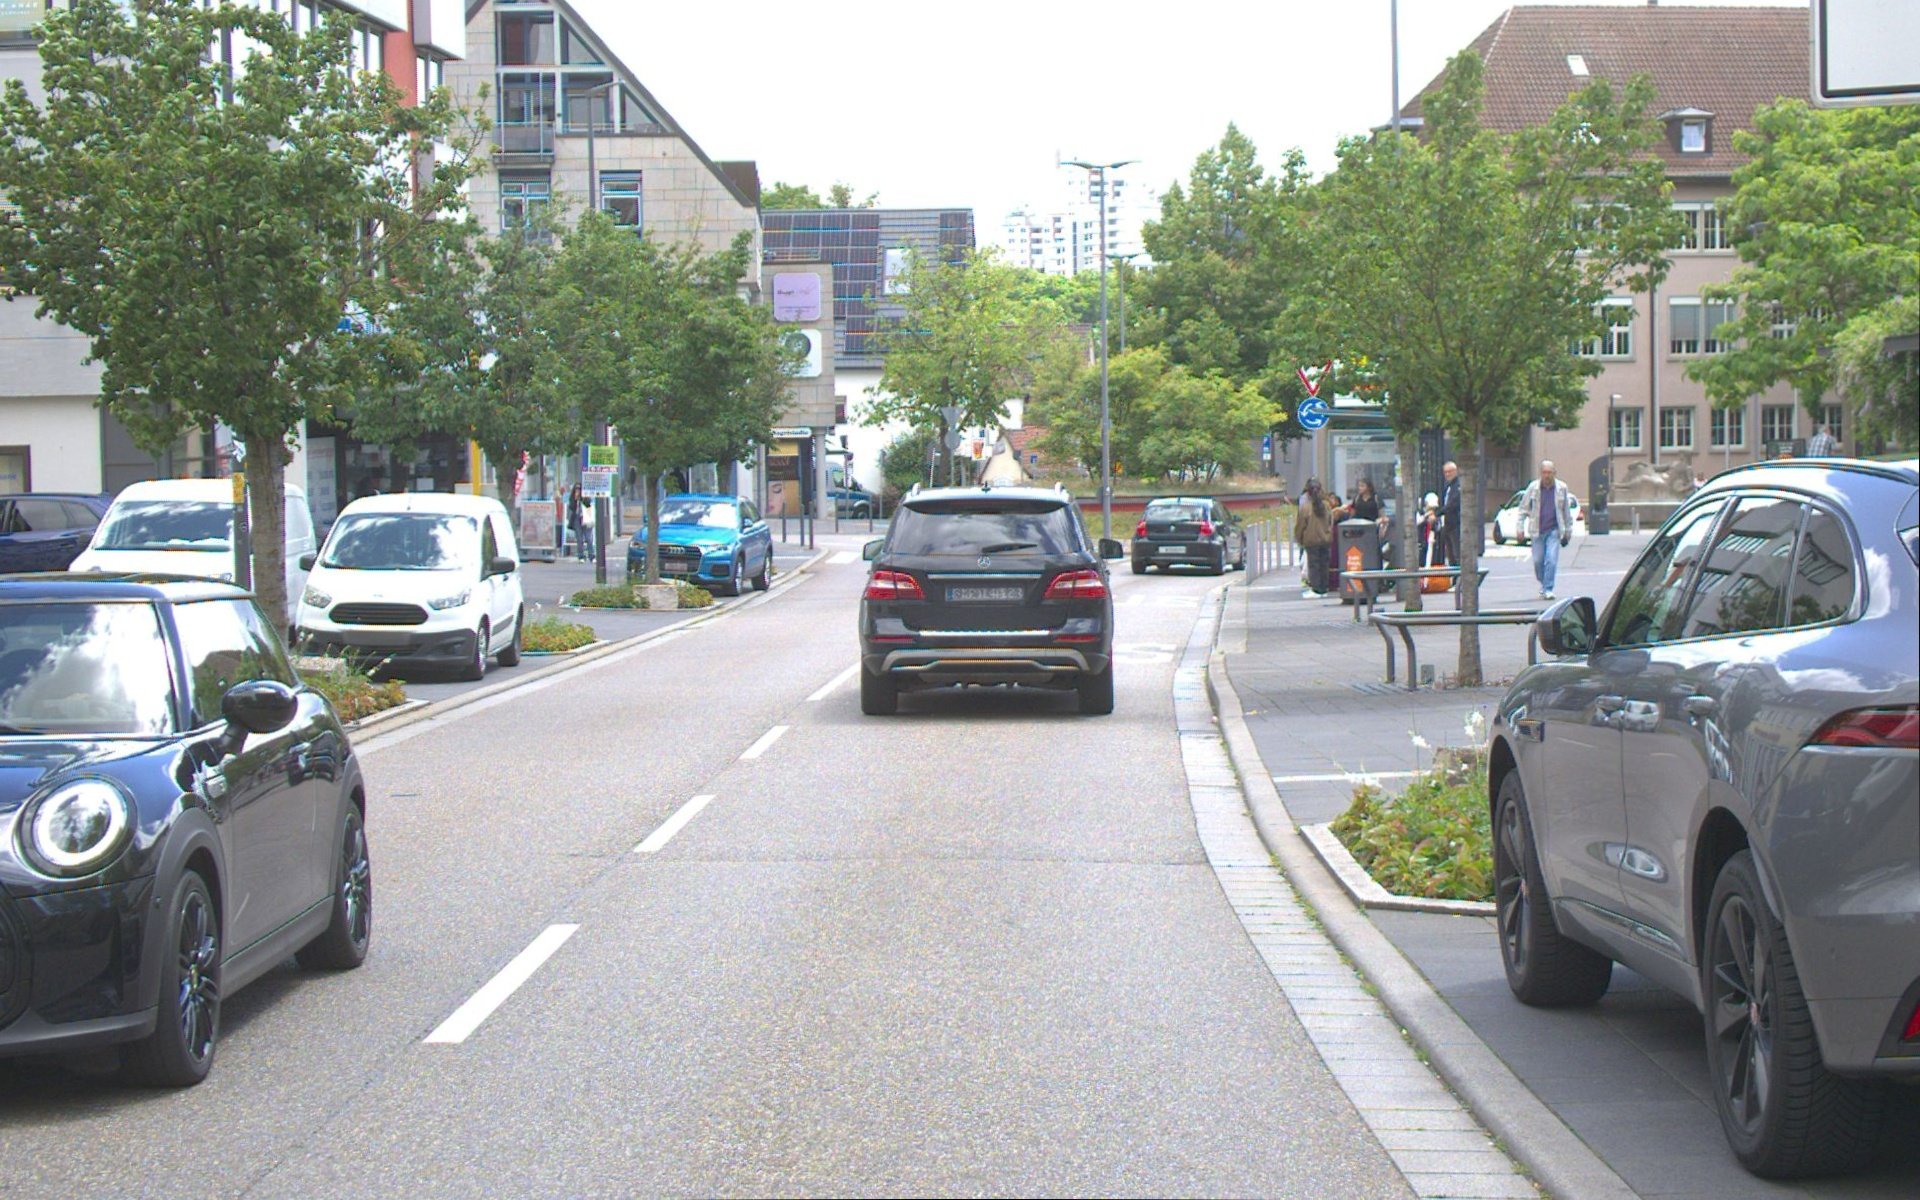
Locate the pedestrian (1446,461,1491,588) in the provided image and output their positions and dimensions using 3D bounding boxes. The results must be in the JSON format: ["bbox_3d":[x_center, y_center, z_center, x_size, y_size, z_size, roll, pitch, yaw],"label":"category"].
[{"bbox_3d":[6.775,-1.008,45.816,0.511,1.674,0.576,-1,2,4],"label":"pedestrian"}]

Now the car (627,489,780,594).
[{"bbox_3d":[-4.166,-0.992,56.376,1.695,1.594,4.331,2,2,6],"label":"car"}]

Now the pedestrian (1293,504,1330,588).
[{"bbox_3d":[5.186,-0.804,50.747,0.403,1.222,0.387,-1,2,26],"label":"pedestrian"}]

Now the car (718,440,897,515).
[{"bbox_3d":[-5.684,-4.521,127.891,6.283,2.551,2.207,1,-1,-17],"label":"car"}]

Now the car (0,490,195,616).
[{"bbox_3d":[-11.558,-0.605,43.057,3.627,1.553,1.669,0,2,-3],"label":"car"}]

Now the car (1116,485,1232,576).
[{"bbox_3d":[4.008,-1.346,64.972,2.052,1.582,4.373,2,2,3],"label":"car"}]

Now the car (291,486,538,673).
[{"bbox_3d":[-5.172,-0.254,33.068,1.656,1.666,4.351,1,2,0],"label":"car"}]

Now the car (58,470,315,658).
[{"bbox_3d":[-7.984,-0.422,35.859,1.756,1.807,4.477,1,2,-1],"label":"car"}]

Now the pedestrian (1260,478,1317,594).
[{"bbox_3d":[4.431,-0.862,46.387,0.485,1.544,0.544,-3,2,-42],"label":"pedestrian"}]

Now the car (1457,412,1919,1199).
[{"bbox_3d":[2.649,0.420,9.103,1.928,1.718,4.574,-1,1,-1],"label":"car"}]

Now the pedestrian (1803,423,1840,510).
[{"bbox_3d":[15.159,-2.349,60.474,0.502,1.503,0.454,-1,3,-3],"label":"pedestrian"}]

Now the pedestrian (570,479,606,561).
[{"bbox_3d":[-7.202,-1.548,66.561,0.587,1.582,0.638,1,2,5],"label":"pedestrian"}]

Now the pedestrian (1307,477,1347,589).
[{"bbox_3d":[5.185,-0.949,48.618,0.500,1.560,0.498,-1,2,4],"label":"pedestrian"}]

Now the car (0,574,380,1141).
[{"bbox_3d":[-2.908,0.662,10.540,1.606,1.383,3.629,-2,1,0],"label":"car"}]

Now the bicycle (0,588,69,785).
[{"bbox_3d":[-5.858,0.511,19.168,1.649,1.084,0.413,-3,2,-36],"label":"bicycle"}]

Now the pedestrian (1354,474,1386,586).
[{"bbox_3d":[5.789,-0.990,48.561,0.393,1.560,0.352,-2,2,2],"label":"pedestrian"}]

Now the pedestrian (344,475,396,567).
[{"bbox_3d":[-10.126,-1.350,58.981,0.585,1.561,0.645,-3,2,-40],"label":"pedestrian"}]

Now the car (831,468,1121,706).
[{"bbox_3d":[0.034,-0.095,27.274,2.027,1.721,4.434,0,0,-3],"label":"car"}]

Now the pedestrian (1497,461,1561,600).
[{"bbox_3d":[6.941,-0.850,41.915,0.685,1.676,0.714,-1,2,15],"label":"pedestrian"}]

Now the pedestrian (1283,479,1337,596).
[{"bbox_3d":[4.675,-0.837,45.912,0.513,1.544,0.486,-1,2,30],"label":"pedestrian"}]

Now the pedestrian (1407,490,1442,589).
[{"bbox_3d":[6.204,-0.814,45.912,0.389,1.301,0.355,-3,2,6],"label":"pedestrian"}]

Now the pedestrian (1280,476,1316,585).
[{"bbox_3d":[5.090,-1.051,51.743,0.387,1.614,0.469,-2,2,17],"label":"pedestrian"}]
